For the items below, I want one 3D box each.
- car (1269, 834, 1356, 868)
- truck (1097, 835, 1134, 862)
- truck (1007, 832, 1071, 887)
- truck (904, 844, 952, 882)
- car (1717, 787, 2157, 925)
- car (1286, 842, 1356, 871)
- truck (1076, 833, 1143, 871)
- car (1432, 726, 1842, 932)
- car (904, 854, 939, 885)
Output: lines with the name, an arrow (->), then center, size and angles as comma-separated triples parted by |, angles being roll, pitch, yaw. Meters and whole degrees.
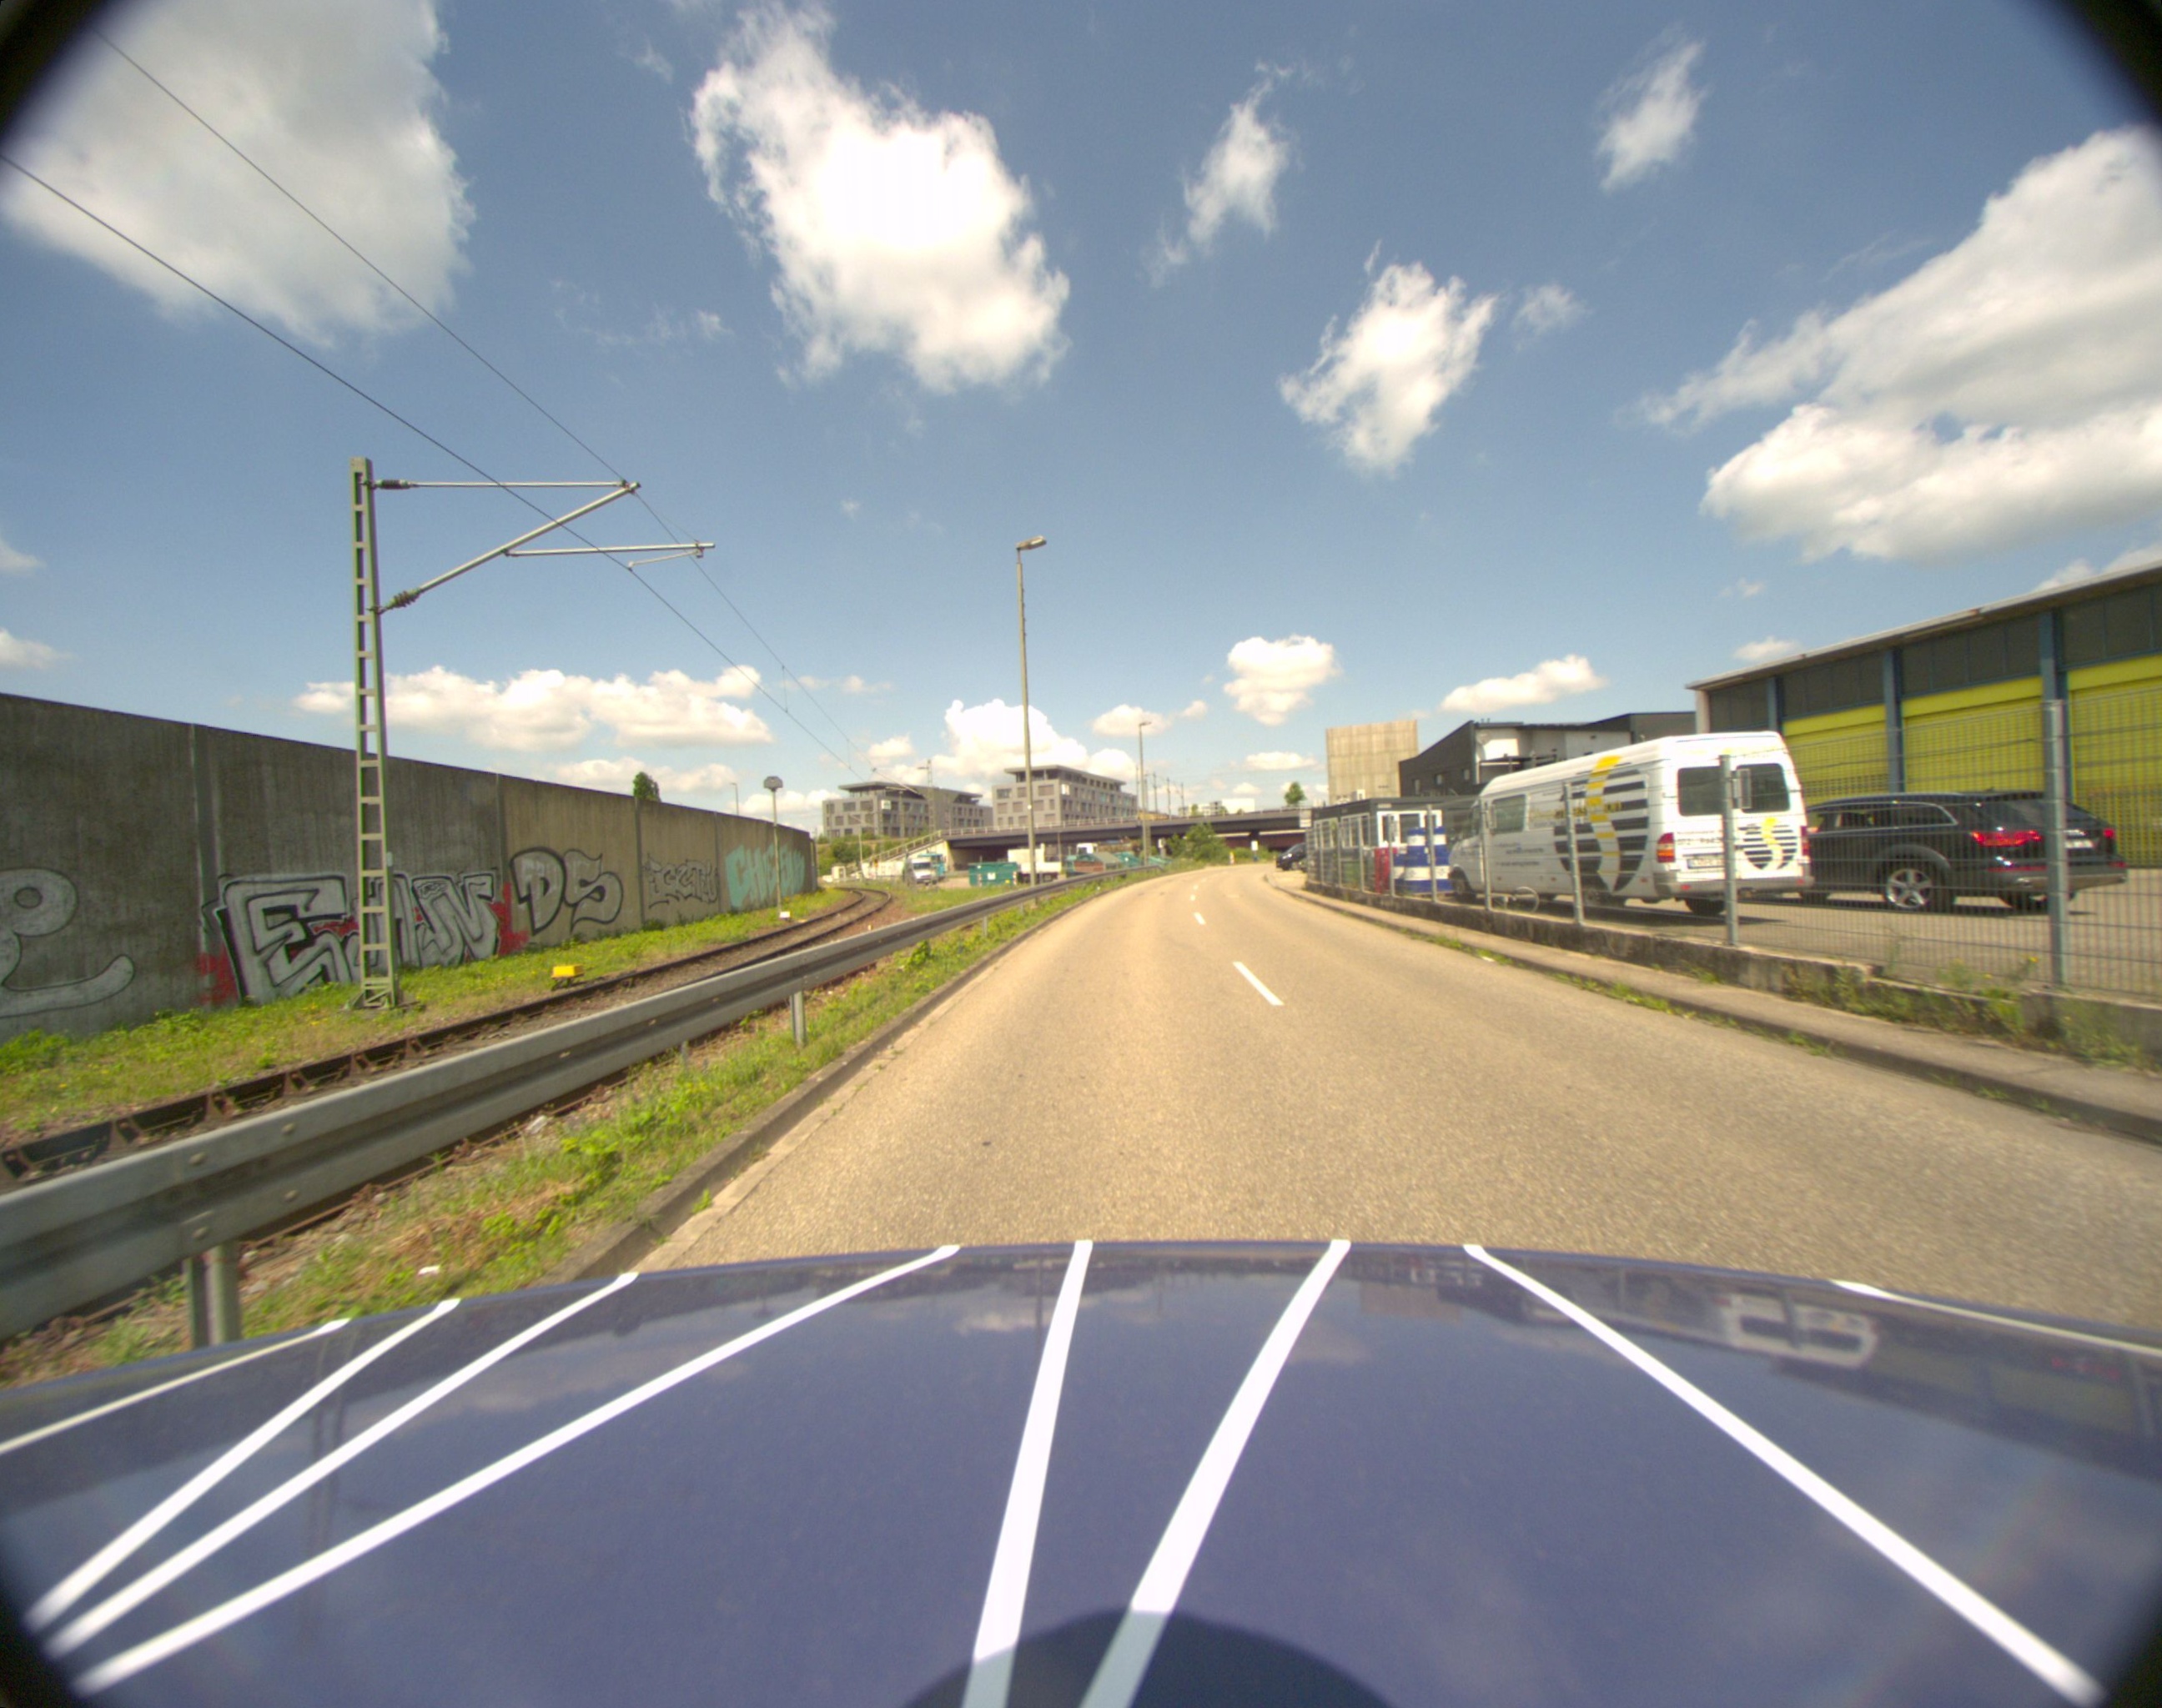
car -> 16.082, -0.201, 52.978 | 5.342, 1.905, 1.999 | -5, 1, -7
truck -> 4.469, -0.700, 100.537 | 2.761, 3.255, 8.191 | -2, 1, -12
truck -> -3.086, 0.358, 52.742 | 2.996, 3.399, 8.104 | -2, 1, -13
truck -> -15.982, 0.904, 78.886 | 2.659, 3.625, 6.873 | -5, 2, -29
car -> 12.300, 0.018, 11.408 | 1.983, 1.658, 3.998 | -2, 0, -4
car -> 14.660, 0.137, 46.483 | 3.698, 1.468, 1.794 | -4, 0, -22
truck -> 2.513, -0.180, 67.233 | 5.502, 3.080, 2.003 | -2, 1, 21
car -> 8.590, -0.310, 12.979 | 2.124, 2.522, 6.717 | -2, 0, 1
car -> -14.217, 1.343, 67.482 | 2.068, 2.512, 5.872 | -4, 1, -19
